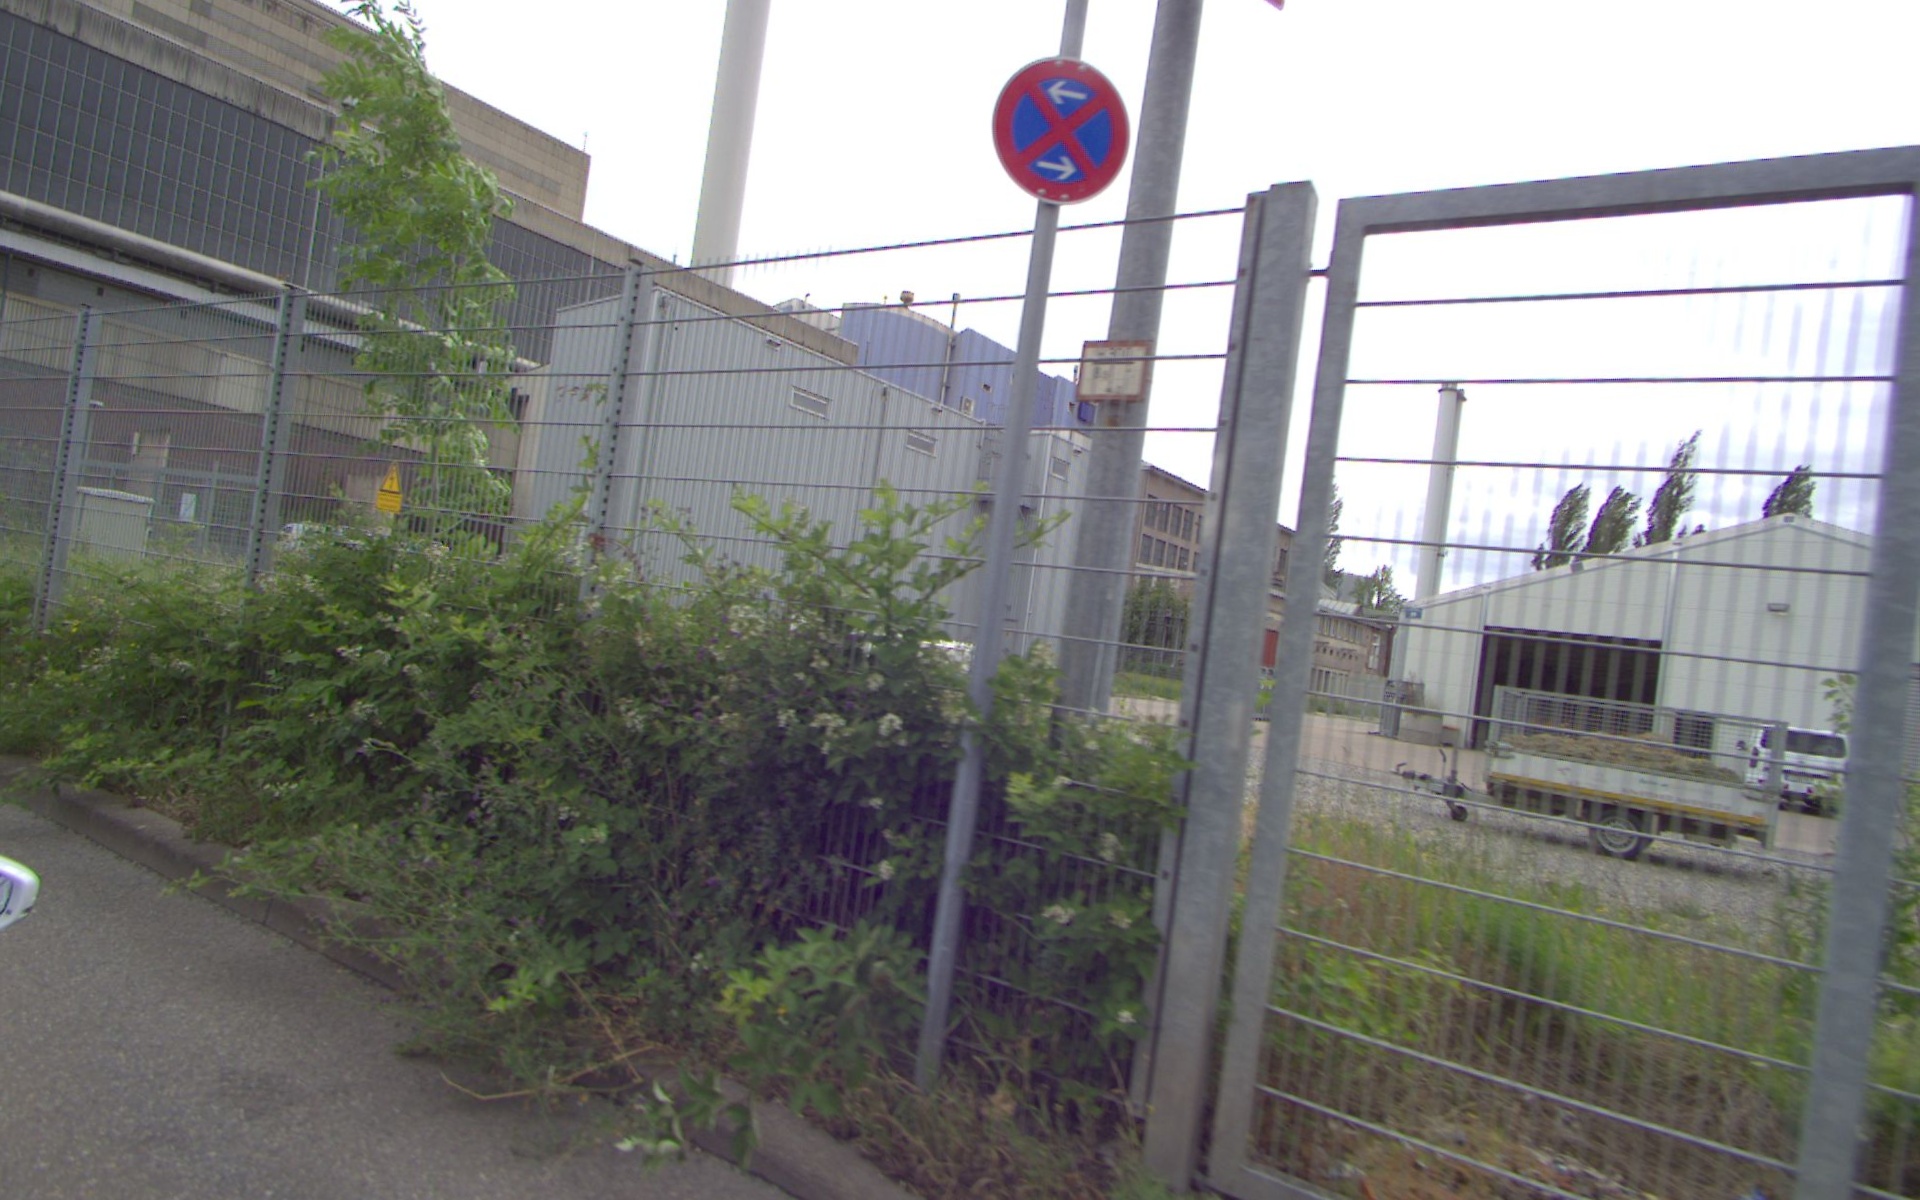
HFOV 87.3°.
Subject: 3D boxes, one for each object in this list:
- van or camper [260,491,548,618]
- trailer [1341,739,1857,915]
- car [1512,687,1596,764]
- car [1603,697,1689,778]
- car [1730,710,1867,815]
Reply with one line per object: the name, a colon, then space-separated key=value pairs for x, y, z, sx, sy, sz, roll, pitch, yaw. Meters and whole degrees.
van or camper: x=-27.711 y=-2.022 z=51.346 sx=5.384 sy=4.582 sz=11.856 roll=6 pitch=-3 yaw=20
trailer: x=7.155 y=2.428 z=11.644 sx=4.621 sy=0.825 sz=2.298 roll=6 pitch=-2 yaw=39
car: x=22.124 y=4.663 z=37.377 sx=1.970 sy=2.403 sz=4.328 roll=7 pitch=-2 yaw=37
car: x=24.477 y=4.870 z=35.821 sx=2.078 sy=2.403 sz=4.421 roll=7 pitch=-2 yaw=37
car: x=20.410 y=3.892 z=24.673 sx=1.968 sy=2.037 sz=4.331 roll=7 pitch=-2 yaw=35
